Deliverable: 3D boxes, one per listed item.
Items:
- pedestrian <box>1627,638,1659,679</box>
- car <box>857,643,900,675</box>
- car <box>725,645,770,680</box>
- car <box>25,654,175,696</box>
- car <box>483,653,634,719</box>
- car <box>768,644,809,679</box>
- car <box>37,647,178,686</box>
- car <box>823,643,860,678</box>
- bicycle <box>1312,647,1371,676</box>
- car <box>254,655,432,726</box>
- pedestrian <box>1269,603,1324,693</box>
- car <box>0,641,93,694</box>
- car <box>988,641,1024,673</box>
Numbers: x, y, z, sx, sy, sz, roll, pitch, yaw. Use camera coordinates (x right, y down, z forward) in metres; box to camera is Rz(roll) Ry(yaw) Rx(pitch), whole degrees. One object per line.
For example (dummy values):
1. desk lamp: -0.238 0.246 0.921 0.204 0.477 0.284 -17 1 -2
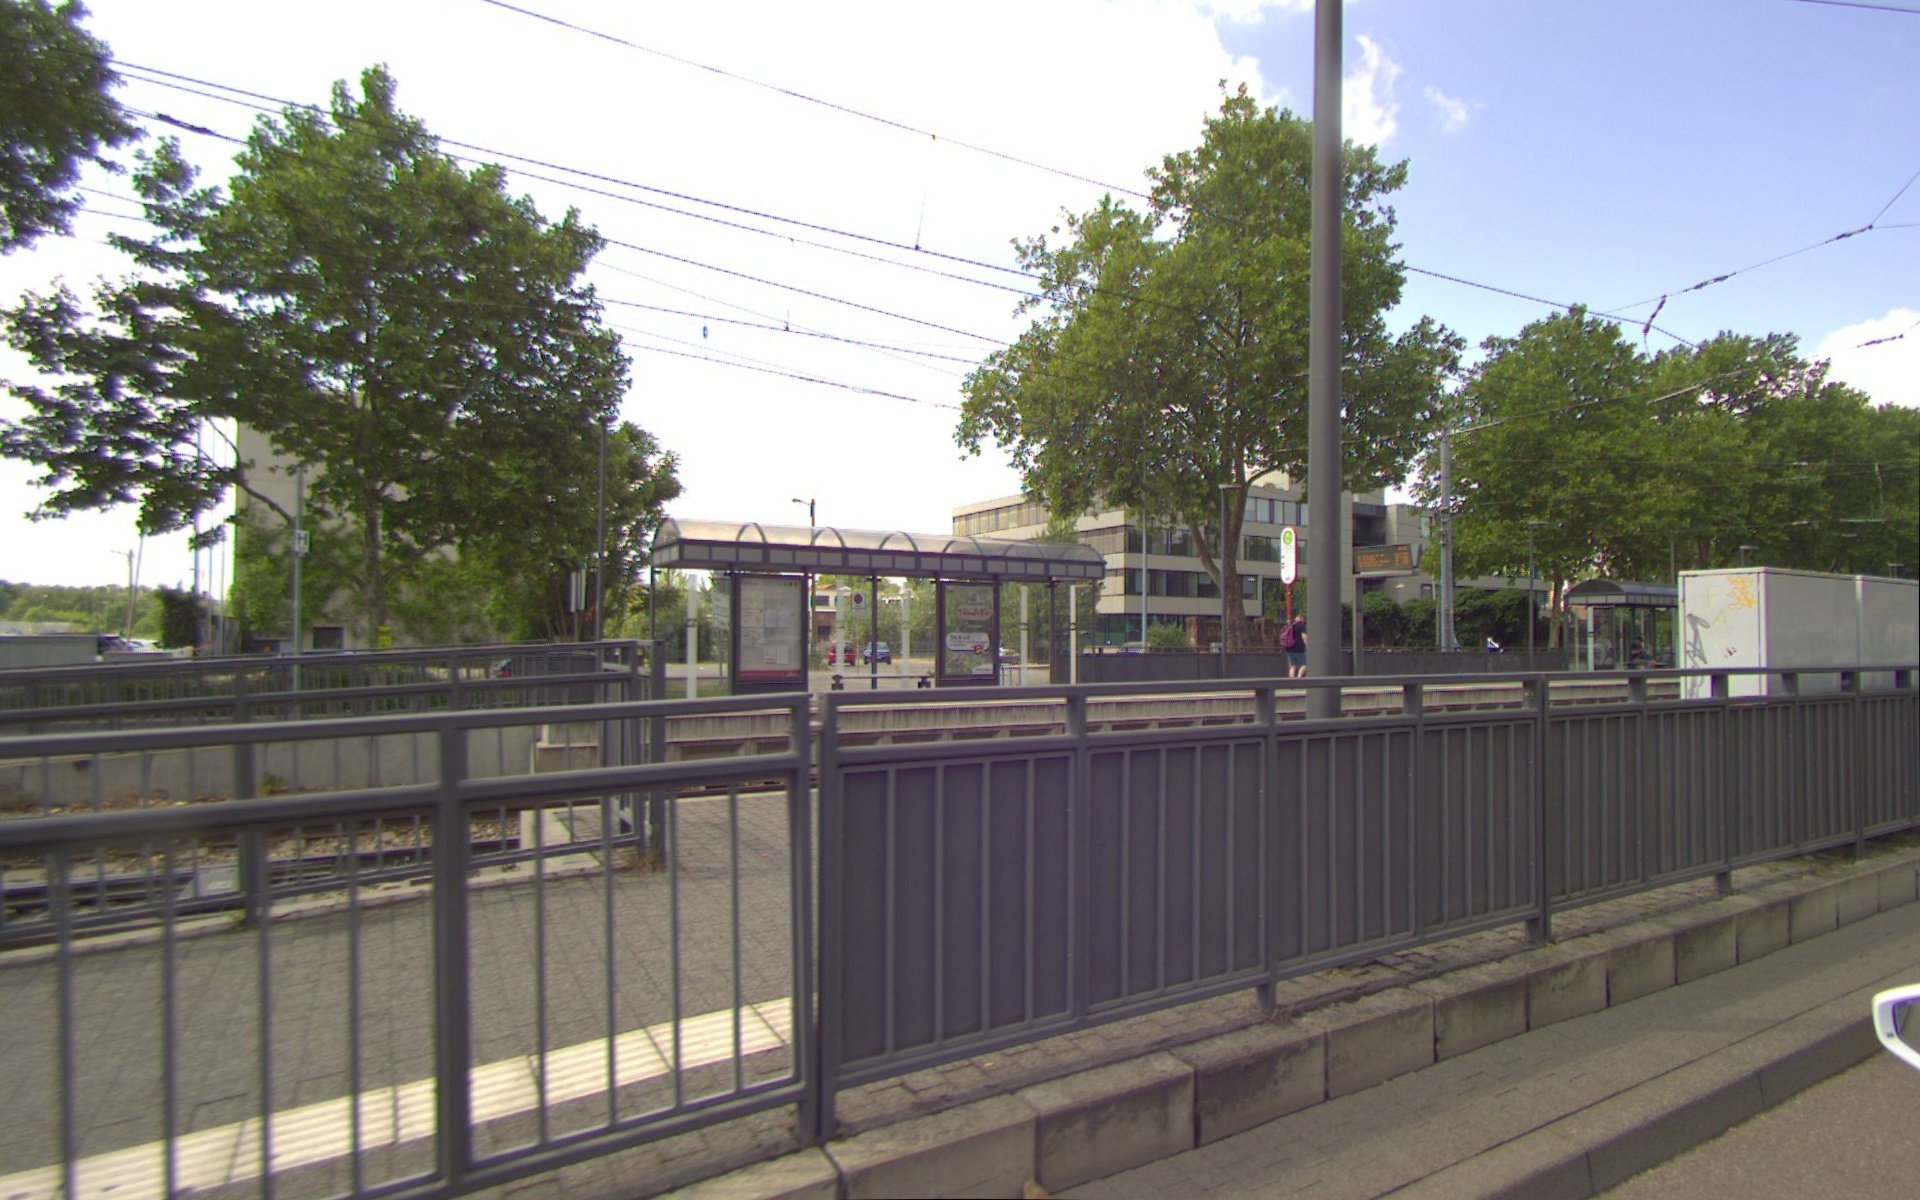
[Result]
1. pedestrian: 21.981 1.880 32.314 0.758 1.286 0.550 1 -2 -30
2. car: -5.431 3.960 67.556 1.959 2.040 4.003 -1 -2 9
3. car: -12.966 3.819 61.501 1.961 2.039 4.439 -1 -4 -3
4. car: -32.894 2.867 38.577 4.060 1.502 1.870 1 -4 -32
5. car: -10.721 2.244 26.837 3.607 1.554 1.685 0 -3 -28
6. car: -10.460 3.785 61.623 1.961 2.039 4.439 -1 -4 -3
7. car: -34.620 2.693 40.945 4.060 1.502 1.870 1 -4 -32
8. car: -7.262 3.754 61.948 1.961 2.039 4.439 -1 -4 -3
9. bicycle: 18.345 2.921 48.374 0.626 1.183 3.028 1 0 -26
10. car: -15.038 2.176 24.722 3.607 1.554 1.685 0 -3 -28
11. pedestrian: 7.282 1.024 21.721 0.855 1.869 0.702 -1 -1 -32
12. car: -28.247 1.991 29.492 3.955 1.495 1.789 1 -3 -32
13. car: 3.108 3.776 66.968 1.959 2.040 4.003 -1 -2 9
